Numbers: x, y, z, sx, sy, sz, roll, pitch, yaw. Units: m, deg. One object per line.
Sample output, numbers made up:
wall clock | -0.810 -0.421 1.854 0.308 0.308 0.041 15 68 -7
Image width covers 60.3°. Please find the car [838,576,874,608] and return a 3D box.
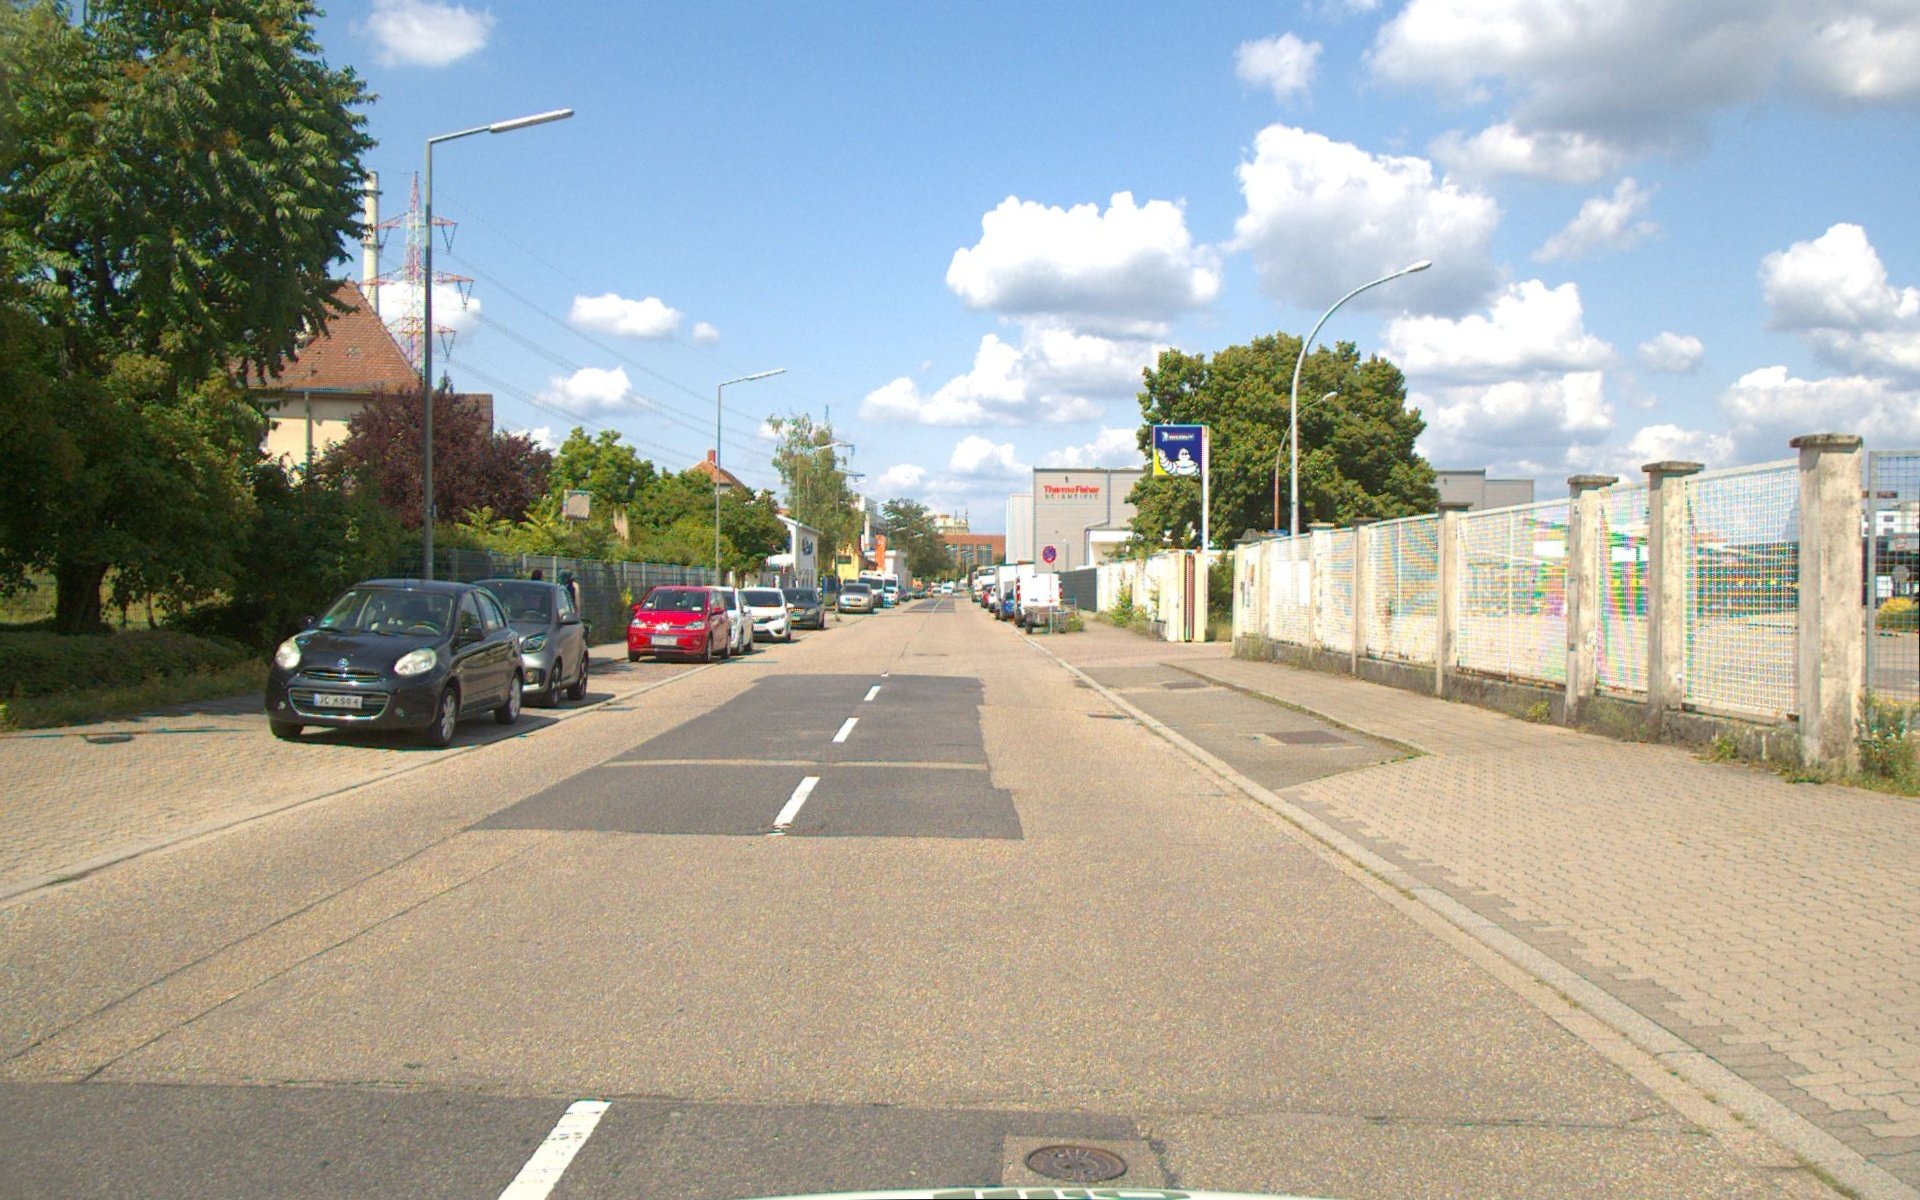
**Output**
car | -6.029 -0.479 96.350 1.754 1.749 4.751 3 0 0

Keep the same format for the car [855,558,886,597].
car | -6.406 -1.585 119.186 1.989 2.602 6.654 2 0 -2

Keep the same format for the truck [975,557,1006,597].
truck | 2.682 -2.016 147.968 2.408 3.350 6.818 -4 0 0

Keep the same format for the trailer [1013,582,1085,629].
trailer | 2.970 0.172 56.012 1.715 1.442 4.544 -3 0 -5

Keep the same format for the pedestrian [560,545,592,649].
pedestrian | -7.210 -0.064 31.059 0.441 1.927 0.677 0 0 -1

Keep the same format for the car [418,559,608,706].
car | -5.716 0.377 21.504 1.617 1.674 3.272 3 0 -2

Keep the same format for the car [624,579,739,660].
car | -5.586 0.365 33.550 1.632 1.492 3.744 2 0 0

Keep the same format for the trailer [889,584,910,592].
trailer | -7.200 -1.415 196.557 2.314 0.908 5.568 2 0 0

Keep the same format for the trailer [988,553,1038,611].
trailer | 2.679 -0.889 85.409 2.160 2.784 6.220 -3 0 -1

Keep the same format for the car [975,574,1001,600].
car | 2.216 -1.011 130.619 2.011 1.937 5.147 0 0 1

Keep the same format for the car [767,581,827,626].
car | -5.780 0.099 59.151 1.769 1.443 4.495 2 1 -2

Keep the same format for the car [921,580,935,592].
car | -5.032 -2.180 256.629 1.882 1.825 4.001 2 0 2

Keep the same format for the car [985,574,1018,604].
car | 2.574 -0.705 103.916 1.896 1.723 4.679 -2 1 0

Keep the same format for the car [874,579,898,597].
car | -6.203 -0.967 138.937 1.759 1.422 4.502 2 0 1

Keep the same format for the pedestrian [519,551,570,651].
pedestrian | -7.740 0.010 30.840 0.693 1.832 0.916 0 0 -1

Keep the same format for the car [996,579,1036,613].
car | 2.637 -0.192 78.753 1.656 1.486 4.069 -2 0 -1

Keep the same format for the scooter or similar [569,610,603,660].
scooter or similar | -6.909 0.636 30.559 0.461 0.903 0.710 0 0 -1

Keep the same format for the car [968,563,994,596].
car | 2.275 -2.225 179.206 2.341 3.421 6.641 -2 0 -3

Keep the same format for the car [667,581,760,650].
car | -5.659 0.336 38.347 1.611 1.503 4.028 1 0 -1

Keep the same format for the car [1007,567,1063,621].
car | 2.973 -0.243 66.409 1.953 2.049 5.649 0 0 0

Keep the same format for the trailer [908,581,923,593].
trailer | -5.857 -1.745 217.594 1.953 1.584 4.253 1 0 0

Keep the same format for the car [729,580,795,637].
car | -5.640 0.216 47.499 1.588 1.549 4.173 1 1 -3

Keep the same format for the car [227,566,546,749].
car | -5.641 0.500 16.843 1.807 1.534 4.000 3 0 -1
